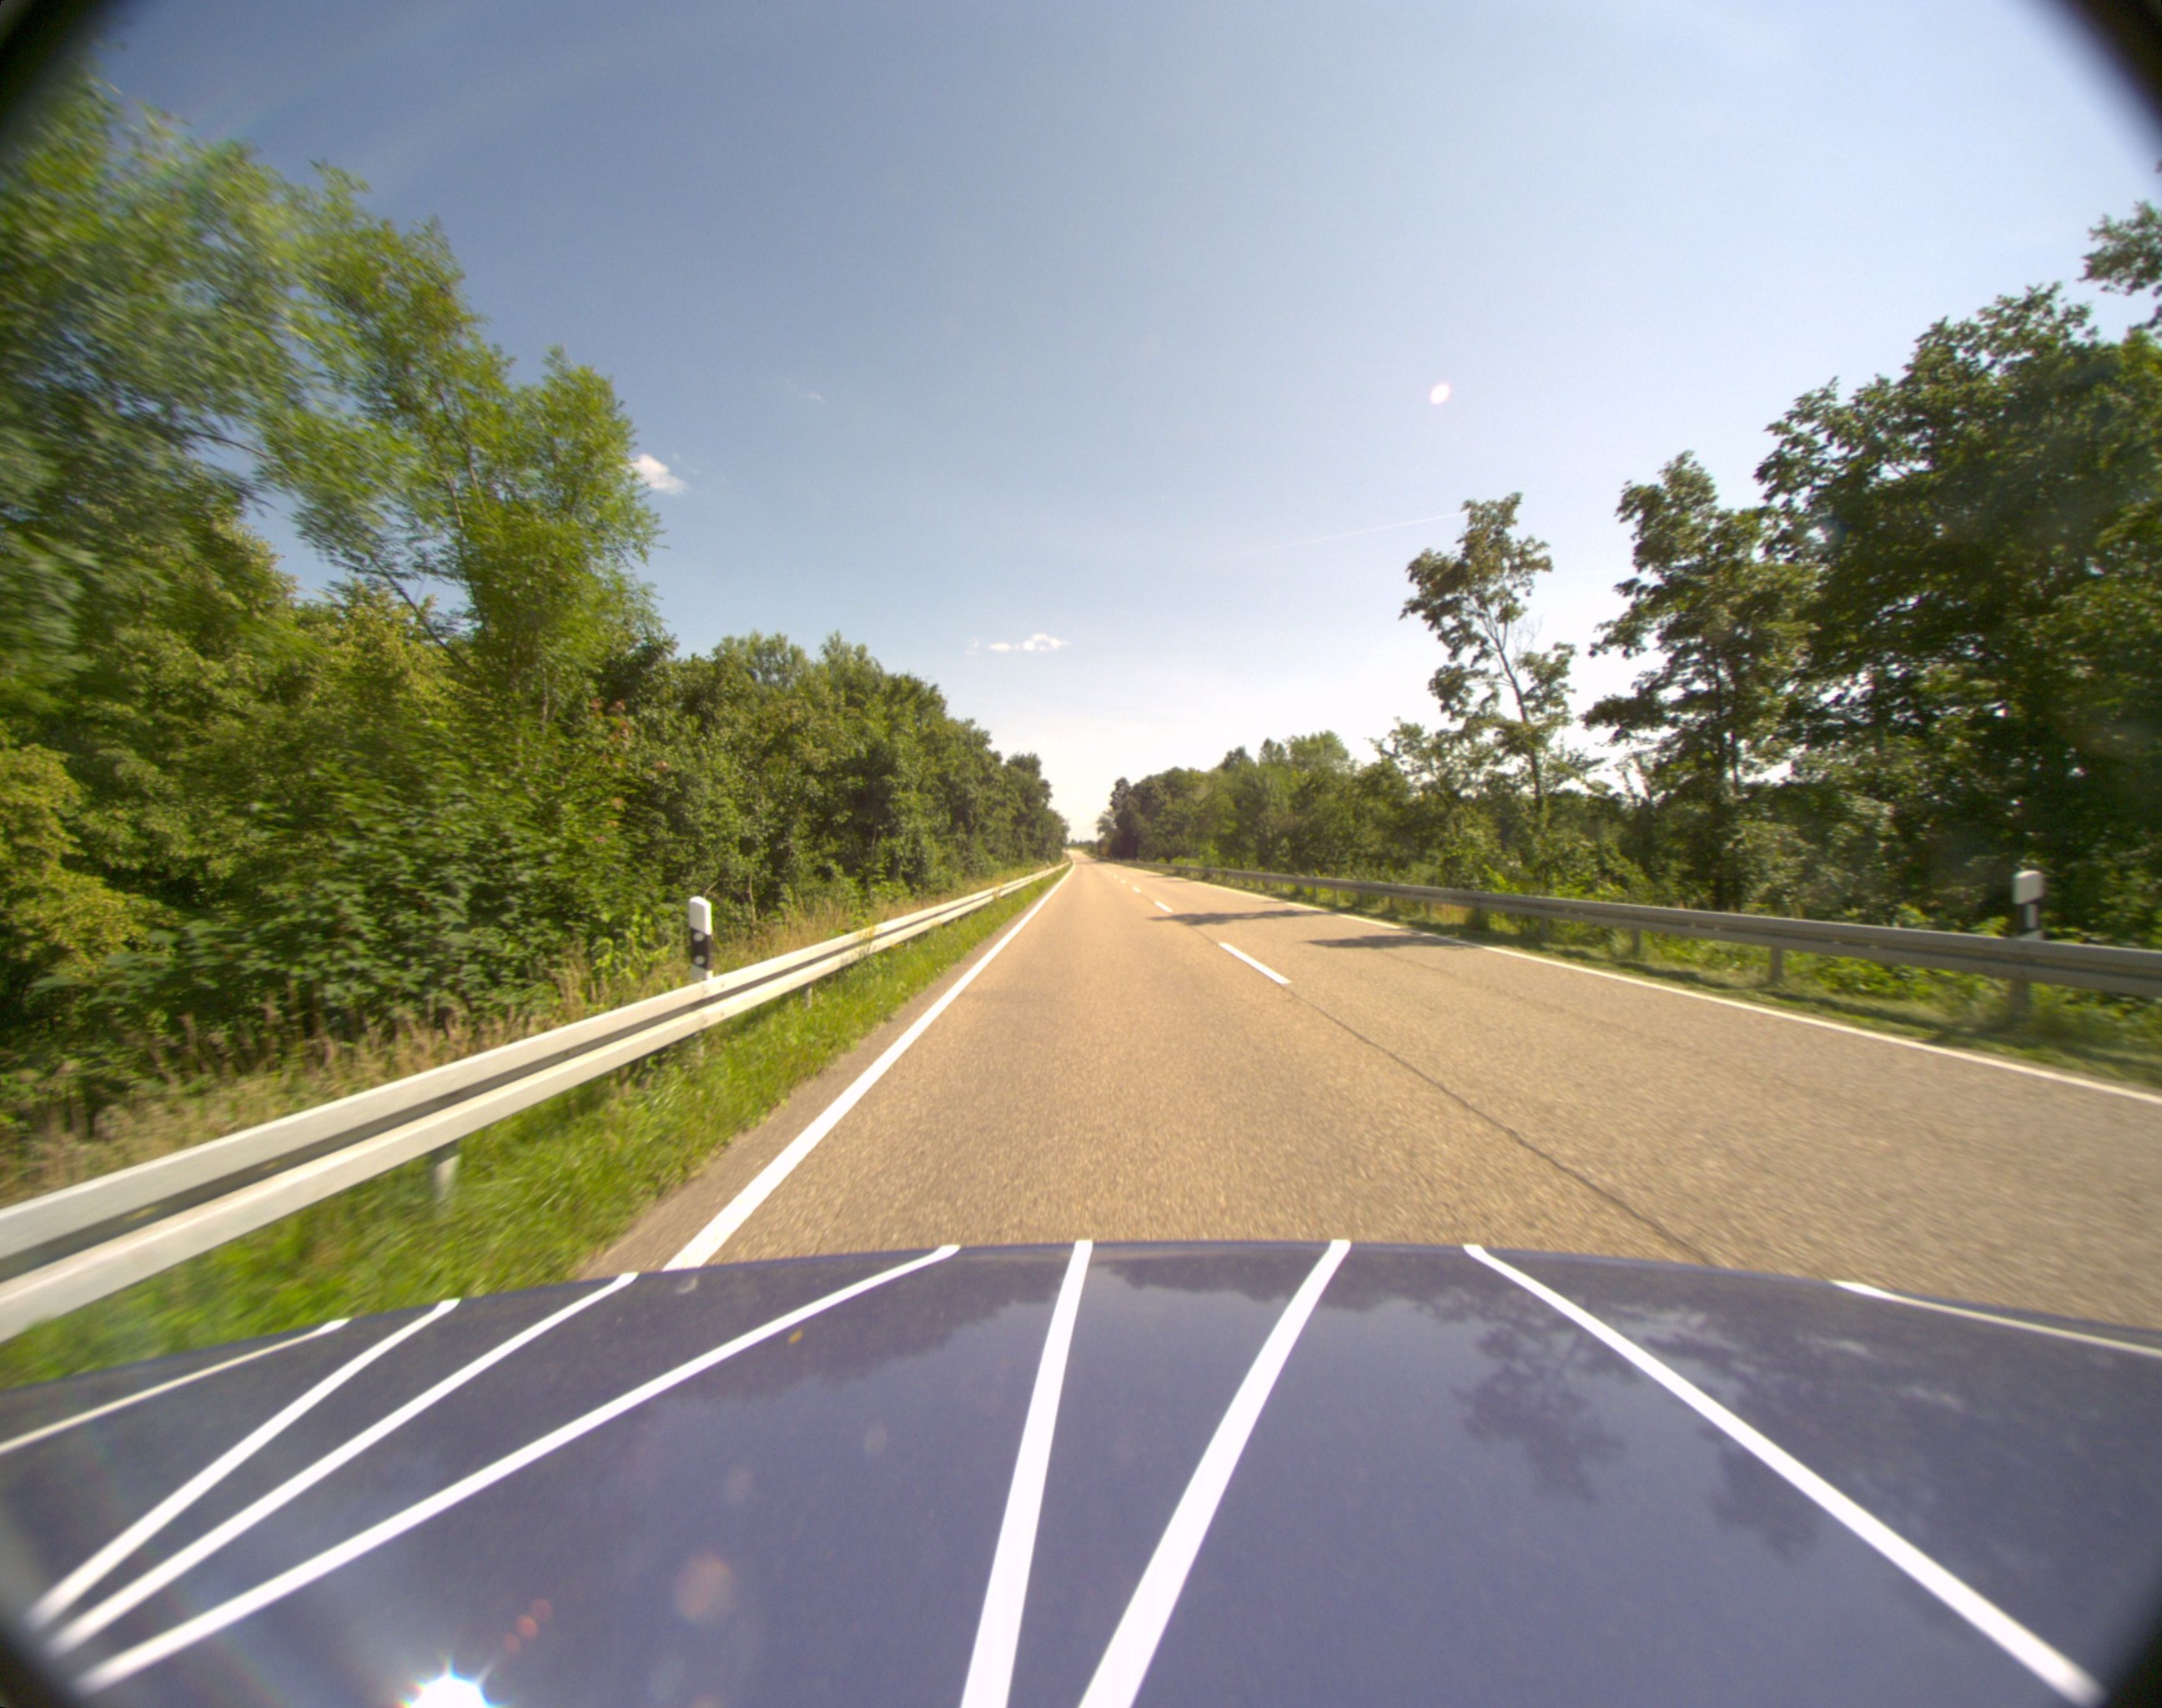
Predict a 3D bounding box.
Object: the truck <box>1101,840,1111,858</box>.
[{"bbox_3d":[8.361,-1.790,257.510,3.067,5.869,8.798,-2,0,0],"label":"truck"}]
